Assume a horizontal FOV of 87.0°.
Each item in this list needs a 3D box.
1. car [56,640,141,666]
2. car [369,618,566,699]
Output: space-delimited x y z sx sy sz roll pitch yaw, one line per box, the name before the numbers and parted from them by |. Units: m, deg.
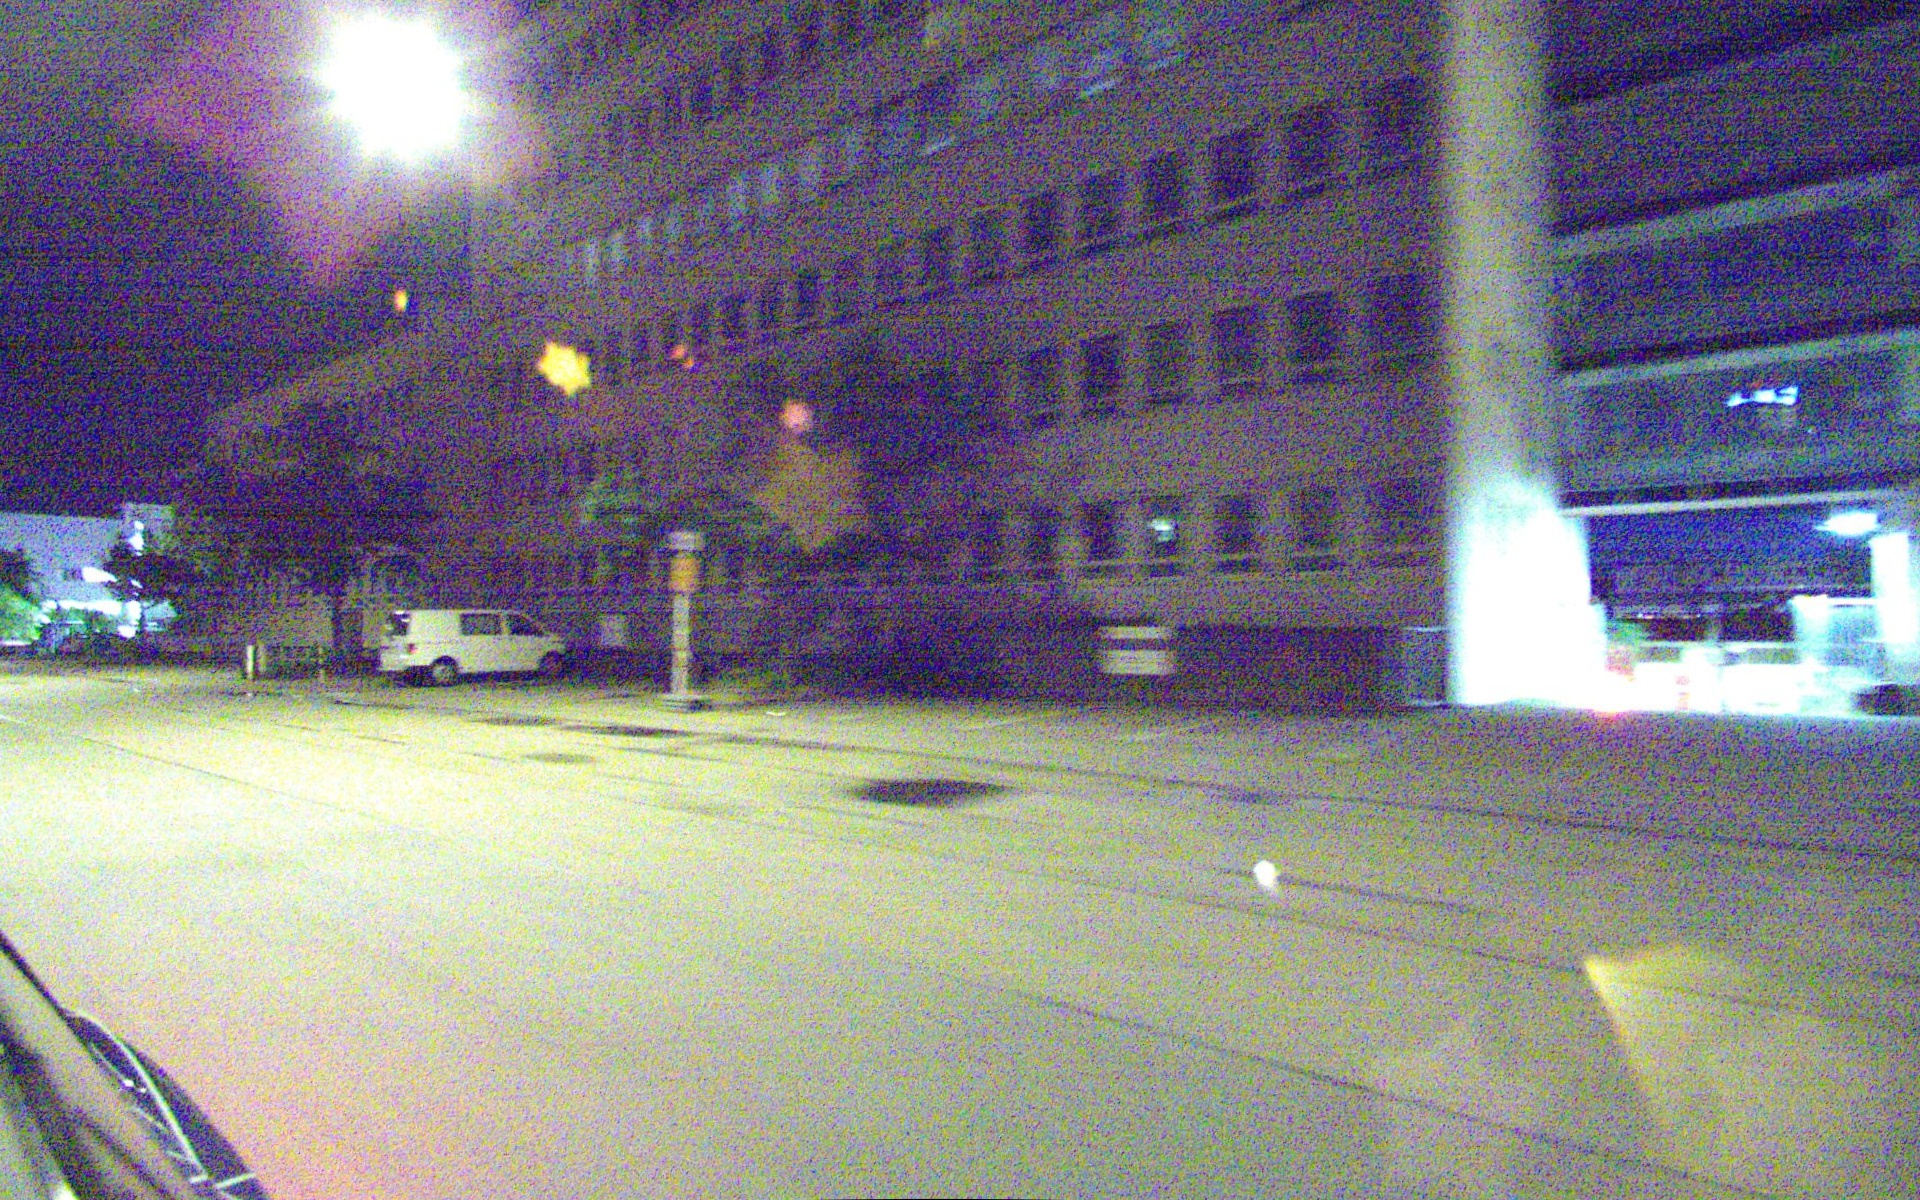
car | -57.733 3.539 67.873 1.802 1.474 3.953 -2 1 35
car | -13.204 1.515 27.358 1.997 1.987 4.390 -2 -2 37
